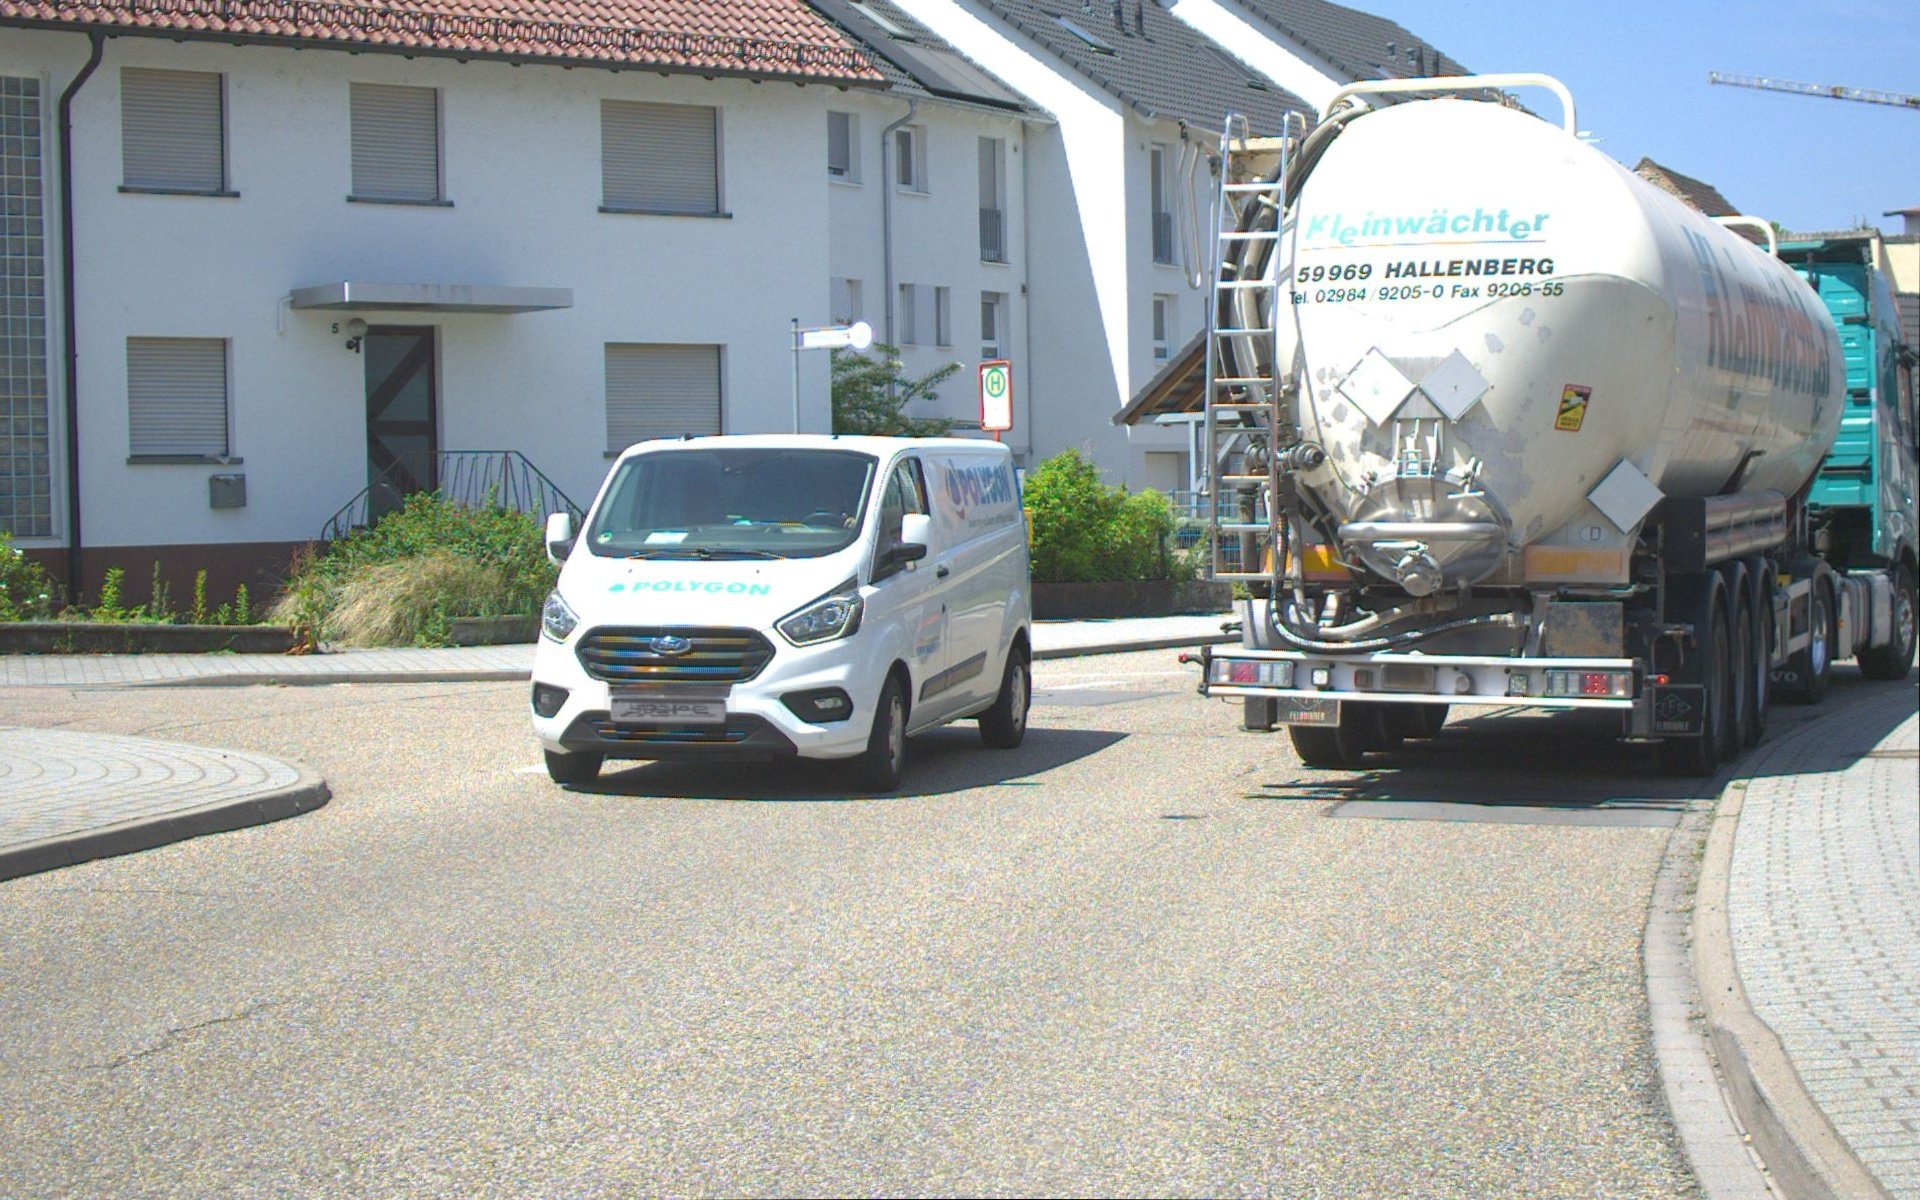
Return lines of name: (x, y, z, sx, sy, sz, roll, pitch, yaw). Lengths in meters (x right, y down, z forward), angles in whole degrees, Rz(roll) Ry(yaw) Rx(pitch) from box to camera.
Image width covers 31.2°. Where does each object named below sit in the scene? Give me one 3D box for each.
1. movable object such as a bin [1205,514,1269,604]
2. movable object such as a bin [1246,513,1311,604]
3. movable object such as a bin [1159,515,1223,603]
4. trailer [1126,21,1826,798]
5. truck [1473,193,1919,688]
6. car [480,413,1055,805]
movable object such as a bin: (3.997, -0.601, 49.581, 0.641, 1.274, 0.692, 1, 2, 42)
movable object such as a bin: (4.550, -0.599, 49.092, 0.641, 1.274, 0.692, 1, 2, 42)
movable object such as a bin: (3.364, -0.602, 50.085, 0.641, 1.274, 0.692, 1, 2, 42)
trailer: (4.036, -1.107, 23.408, 2.955, 3.934, 11.610, 0, 1, 17)
truck: (6.898, -1.345, 30.620, 2.992, 3.951, 5.571, 0, 1, 27)
car: (-0.953, -0.056, 20.404, 1.995, 1.992, 5.211, 1, 2, 13)
